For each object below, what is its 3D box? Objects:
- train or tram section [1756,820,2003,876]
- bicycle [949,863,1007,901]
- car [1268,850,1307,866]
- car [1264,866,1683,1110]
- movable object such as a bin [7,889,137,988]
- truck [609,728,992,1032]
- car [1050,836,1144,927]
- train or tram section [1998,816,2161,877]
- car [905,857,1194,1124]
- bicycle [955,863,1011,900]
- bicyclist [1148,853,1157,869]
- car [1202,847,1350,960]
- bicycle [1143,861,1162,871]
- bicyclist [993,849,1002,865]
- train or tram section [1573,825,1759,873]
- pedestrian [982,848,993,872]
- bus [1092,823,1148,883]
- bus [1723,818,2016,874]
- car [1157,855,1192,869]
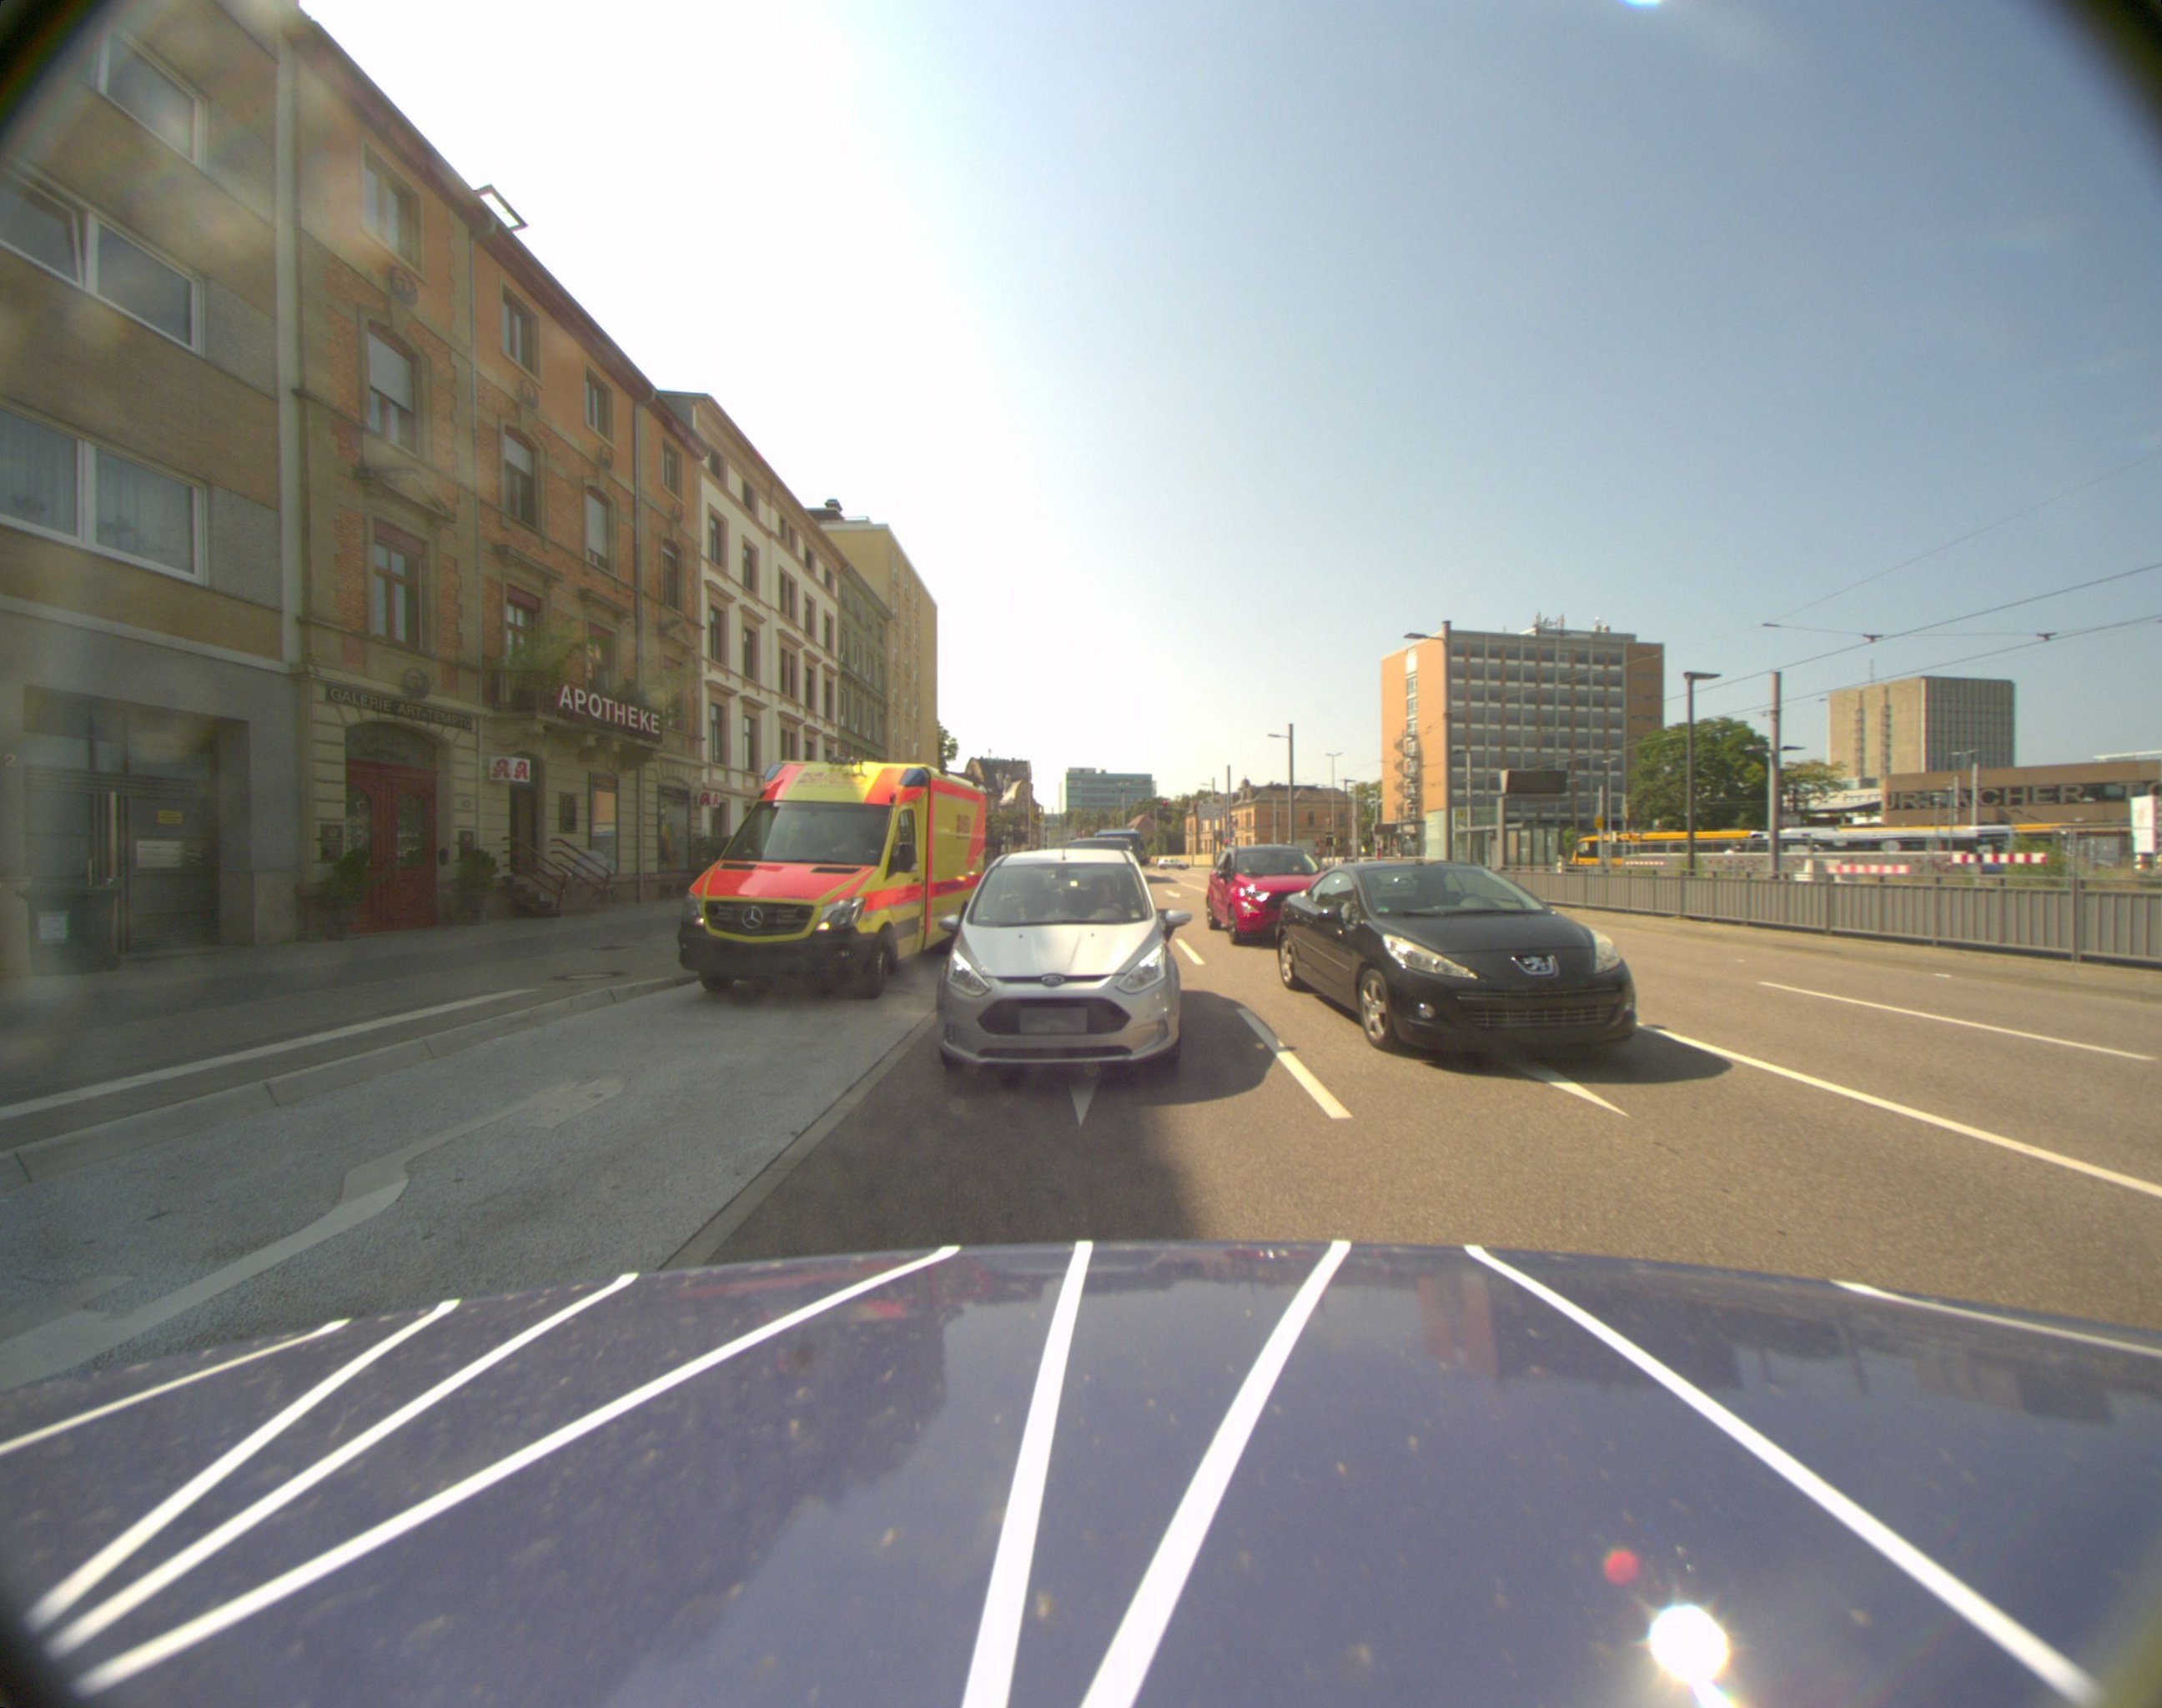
[{"bbox_3d":[57.976,-0.393,55.873,2.004,3.743,12.331,-1,0,-45],"label":"train or tram section"},{"bbox_3d":[-3.430,0.940,25.347,1.841,1.196,0.434,-2,1,1],"label":"bicycle"},{"bbox_3d":[24.301,0.469,89.457,4.278,1.722,1.885,-2,0,16],"label":"car"},{"bbox_3d":[2.905,0.867,6.633,1.692,1.405,3.801,-2,0,1],"label":"car"},{"bbox_3d":[-11.976,0.976,9.049,0.648,1.098,0.727,1,0,-24],"label":"movable object such as a bin"},{"bbox_3d":[-3.010,0.210,10.233,2.333,2.754,6.340,2,1,4],"label":"truck"},{"bbox_3d":[0.400,0.595,19.013,1.998,1.953,4.816,-1,0,1],"label":"car"},{"bbox_3d":[66.683,-0.459,47.129,2.004,3.743,12.331,-1,0,-45],"label":"train or tram section"},{"bbox_3d":[-0.143,0.843,6.627,1.728,1.579,4.000,-1,0,1],"label":"car"},{"bbox_3d":[-3.389,0.938,26.245,1.841,1.212,0.434,-2,1,1],"label":"bicycle"},{"bbox_3d":[8.547,0.809,91.293,0.857,1.891,0.664,-2,1,21],"label":"bicyclist"},{"bbox_3d":[3.177,0.718,13.131,1.634,1.611,3.968,-2,0,2],"label":"car"},{"bbox_3d":[8.566,1.415,91.303,2.182,1.095,0.664,-2,1,21],"label":"bicycle"},{"bbox_3d":[-8.106,0.304,74.057,0.721,1.577,1.103,-1,0,2],"label":"bicyclist"},{"bbox_3d":[49.283,-0.373,64.600,2.004,3.743,12.331,-1,0,-45],"label":"train or tram section"},{"bbox_3d":[-6.412,0.430,52.203,0.645,1.619,0.796,1,1,-1],"label":"pedestrian"},{"bbox_3d":[2.500,-0.067,47.209,2.919,3.119,12.347,-2,0,4],"label":"bus"},{"bbox_3d":[52.349,-0.396,51.342,3.357,3.275,13.371,-3,0,-45],"label":"bus"},{"bbox_3d":[11.606,1.054,94.248,3.872,1.575,1.691,-2,0,24],"label":"car"}]
